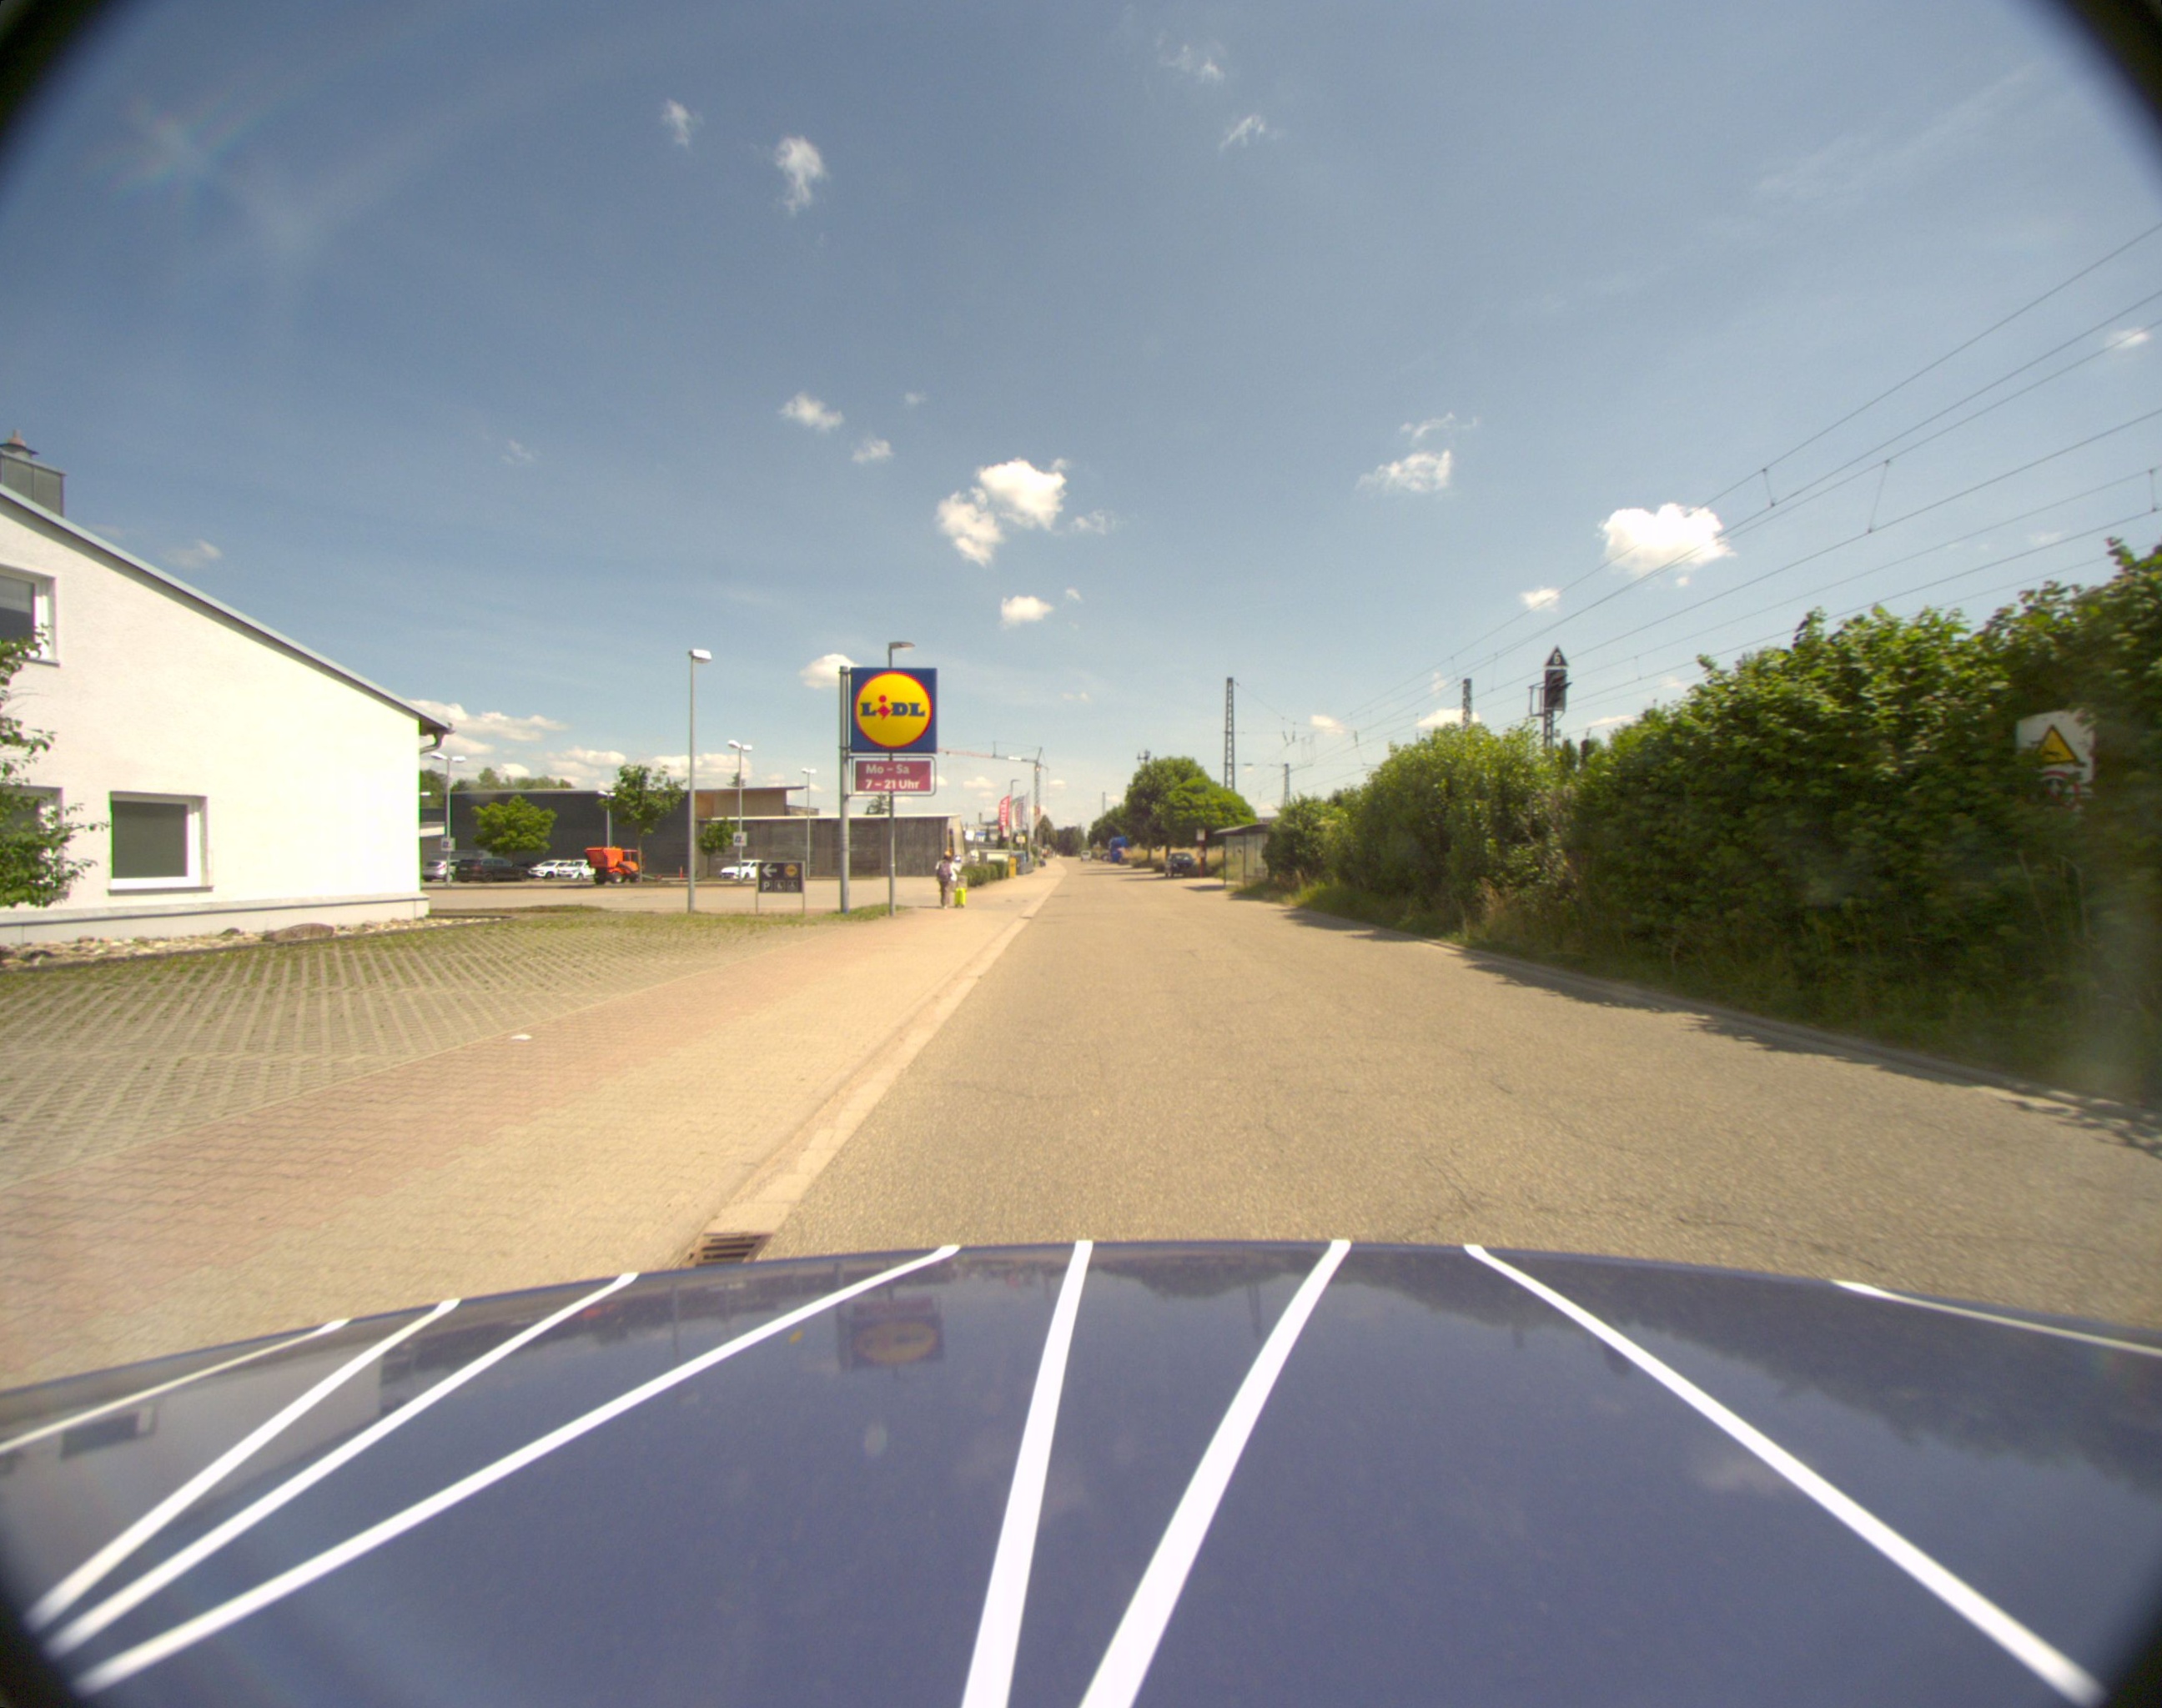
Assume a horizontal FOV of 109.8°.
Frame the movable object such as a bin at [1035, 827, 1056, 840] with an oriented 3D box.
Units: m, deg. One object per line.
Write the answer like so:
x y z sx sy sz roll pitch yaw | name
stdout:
-9.423 -5.340 201.578 5.134 3.277 2.389 -1 6 -19 | movable object such as a bin

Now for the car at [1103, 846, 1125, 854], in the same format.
6.072 -0.713 139.864 3.954 1.442 1.787 0 1 2 | car

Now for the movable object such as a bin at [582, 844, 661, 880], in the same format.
-29.551 0.494 49.063 1.682 2.191 4.526 1 0 12 | movable object such as a bin

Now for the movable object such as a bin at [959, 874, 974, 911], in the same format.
-3.273 1.092 21.767 0.375 1.024 0.498 0 1 -4 | movable object such as a bin

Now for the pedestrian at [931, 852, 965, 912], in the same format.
-3.703 0.763 21.274 0.763 1.592 1.210 1 1 -3 | pedestrian

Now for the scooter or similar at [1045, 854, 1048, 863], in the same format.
-4.282 0.571 94.835 0.334 1.191 0.397 0 3 -1 | scooter or similar

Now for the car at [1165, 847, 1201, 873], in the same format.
6.539 0.380 49.118 1.746 1.587 3.578 -1 0 -2 | car

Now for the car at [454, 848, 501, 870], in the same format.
-44.420 0.351 55.976 1.224 1.558 2.673 1 1 5 | car

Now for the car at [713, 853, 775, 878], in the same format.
-23.927 0.809 54.146 1.997 1.652 4.441 -1 0 6 | car

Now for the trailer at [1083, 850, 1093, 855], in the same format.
1.295 -0.323 139.229 1.823 0.845 4.222 0 0 -1 | trailer

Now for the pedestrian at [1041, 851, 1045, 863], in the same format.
-4.751 0.382 94.880 0.536 1.533 0.510 0 7 -3 | pedestrian

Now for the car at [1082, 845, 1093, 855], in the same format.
1.229 -0.703 143.619 1.843 1.847 4.482 -1 1 -1 | car

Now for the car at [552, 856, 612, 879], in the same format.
-36.552 0.971 55.823 1.583 1.565 4.001 -1 0 3 | car

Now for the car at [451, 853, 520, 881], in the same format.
-39.211 0.826 50.135 1.508 1.604 3.342 1 3 12 | car

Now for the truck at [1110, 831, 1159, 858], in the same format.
7.551 -1.300 108.240 6.633 3.801 2.662 0 1 -5 | truck
